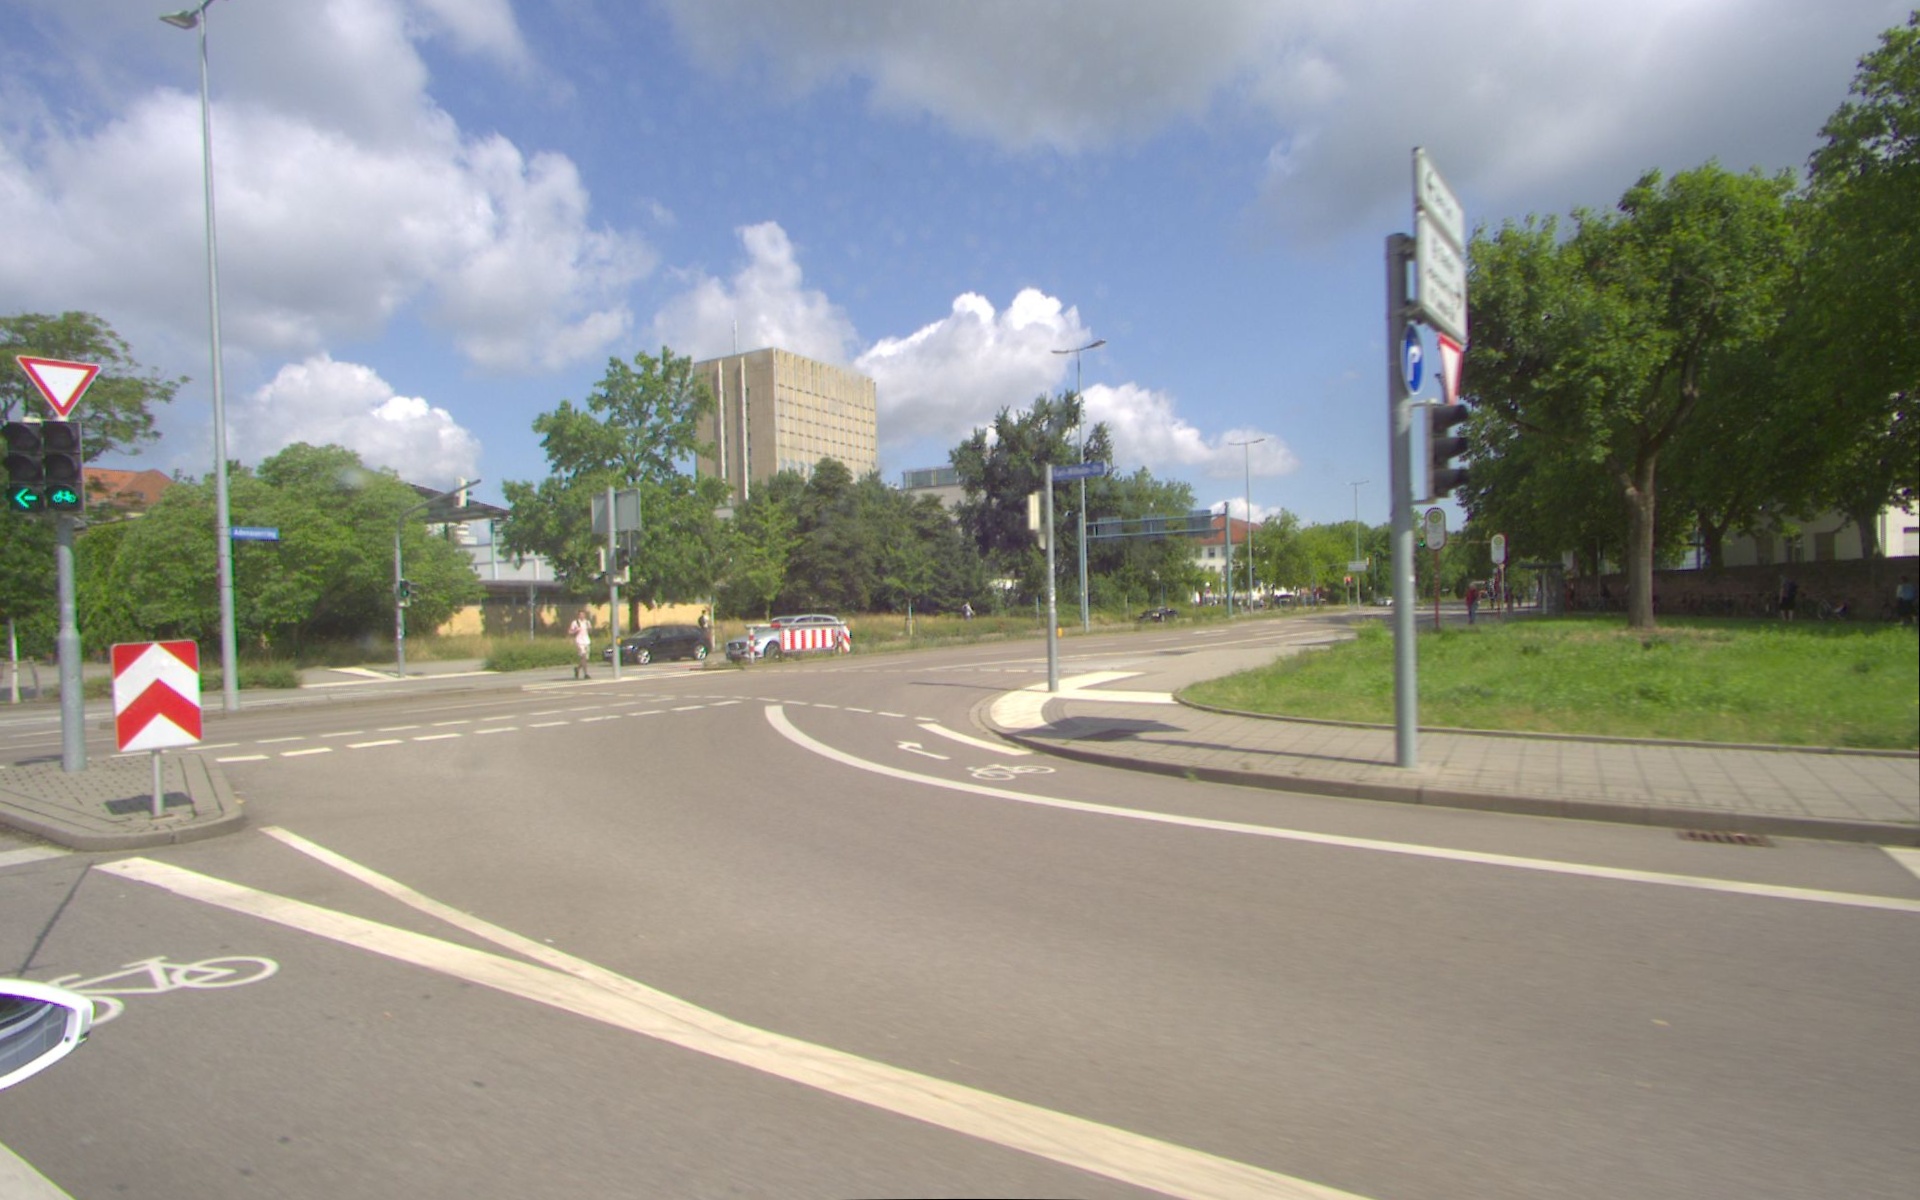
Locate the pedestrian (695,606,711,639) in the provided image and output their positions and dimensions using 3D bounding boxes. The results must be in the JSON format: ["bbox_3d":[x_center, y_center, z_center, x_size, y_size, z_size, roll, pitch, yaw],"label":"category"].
[{"bbox_3d":[-12.566,1.112,48.936,0.534,1.628,0.522,-1,-1,28],"label":"pedestrian"}]

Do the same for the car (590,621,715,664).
[{"bbox_3d":[-11.400,1.530,37.343,1.974,1.396,4.132,0,1,36],"label":"car"}]

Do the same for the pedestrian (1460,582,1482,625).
[{"bbox_3d":[21.974,0.156,43.041,0.739,1.803,0.961,-2,1,31],"label":"pedestrian"}]

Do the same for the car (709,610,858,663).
[{"bbox_3d":[-5.735,1.159,33.110,2.036,1.460,4.748,-4,-1,36],"label":"car"}]

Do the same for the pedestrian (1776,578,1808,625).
[{"bbox_3d":[30.898,0.052,37.200,0.651,1.746,0.742,-1,1,13],"label":"pedestrian"}]

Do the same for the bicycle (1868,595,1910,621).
[{"bbox_3d":[32.349,0.283,34.887,0.955,0.860,0.482,-1,1,10],"label":"bicycle"}]

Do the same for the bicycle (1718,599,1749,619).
[{"bbox_3d":[34.005,0.395,44.050,0.955,0.860,0.482,-1,1,10],"label":"bicycle"}]

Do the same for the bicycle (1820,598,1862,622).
[{"bbox_3d":[32.753,0.353,37.230,1.053,0.860,0.499,-1,1,10],"label":"bicycle"}]

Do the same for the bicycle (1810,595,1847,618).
[{"bbox_3d":[32.973,0.258,38.030,0.955,0.860,0.482,-1,1,10],"label":"bicycle"}]

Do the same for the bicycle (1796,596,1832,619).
[{"bbox_3d":[33.054,0.282,38.764,0.955,0.860,0.482,-1,1,10],"label":"bicycle"}]

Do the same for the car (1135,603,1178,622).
[{"bbox_3d":[14.931,0.916,75.941,1.774,1.289,3.973,-1,0,35],"label":"car"}]

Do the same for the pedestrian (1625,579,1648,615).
[{"bbox_3d":[34.724,-0.175,51.406,0.874,1.803,0.766,-2,1,32],"label":"pedestrian"}]

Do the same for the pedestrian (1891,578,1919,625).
[{"bbox_3d":[31.527,0.044,33.164,0.712,1.554,0.724,-2,0,5],"label":"pedestrian"}]

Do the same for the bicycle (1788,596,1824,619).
[{"bbox_3d":[33.204,0.301,39.311,0.955,0.860,0.482,-1,1,10],"label":"bicycle"}]

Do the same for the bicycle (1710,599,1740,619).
[{"bbox_3d":[34.076,0.414,44.625,0.955,0.860,0.482,-1,1,10],"label":"bicycle"}]

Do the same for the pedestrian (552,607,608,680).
[{"bbox_3d":[-10.178,1.162,26.830,1.161,1.882,0.697,-2,1,21],"label":"pedestrian"}]

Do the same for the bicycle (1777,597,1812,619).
[{"bbox_3d":[33.307,0.325,39.982,0.955,0.860,0.482,-1,1,10],"label":"bicycle"}]

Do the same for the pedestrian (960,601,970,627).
[{"bbox_3d":[0.350,0.961,67.934,0.534,1.791,0.522,-1,-1,28],"label":"pedestrian"}]

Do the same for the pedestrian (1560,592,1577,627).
[{"bbox_3d":[31.974,0.477,52.612,0.739,1.803,0.766,-2,1,32],"label":"pedestrian"}]
